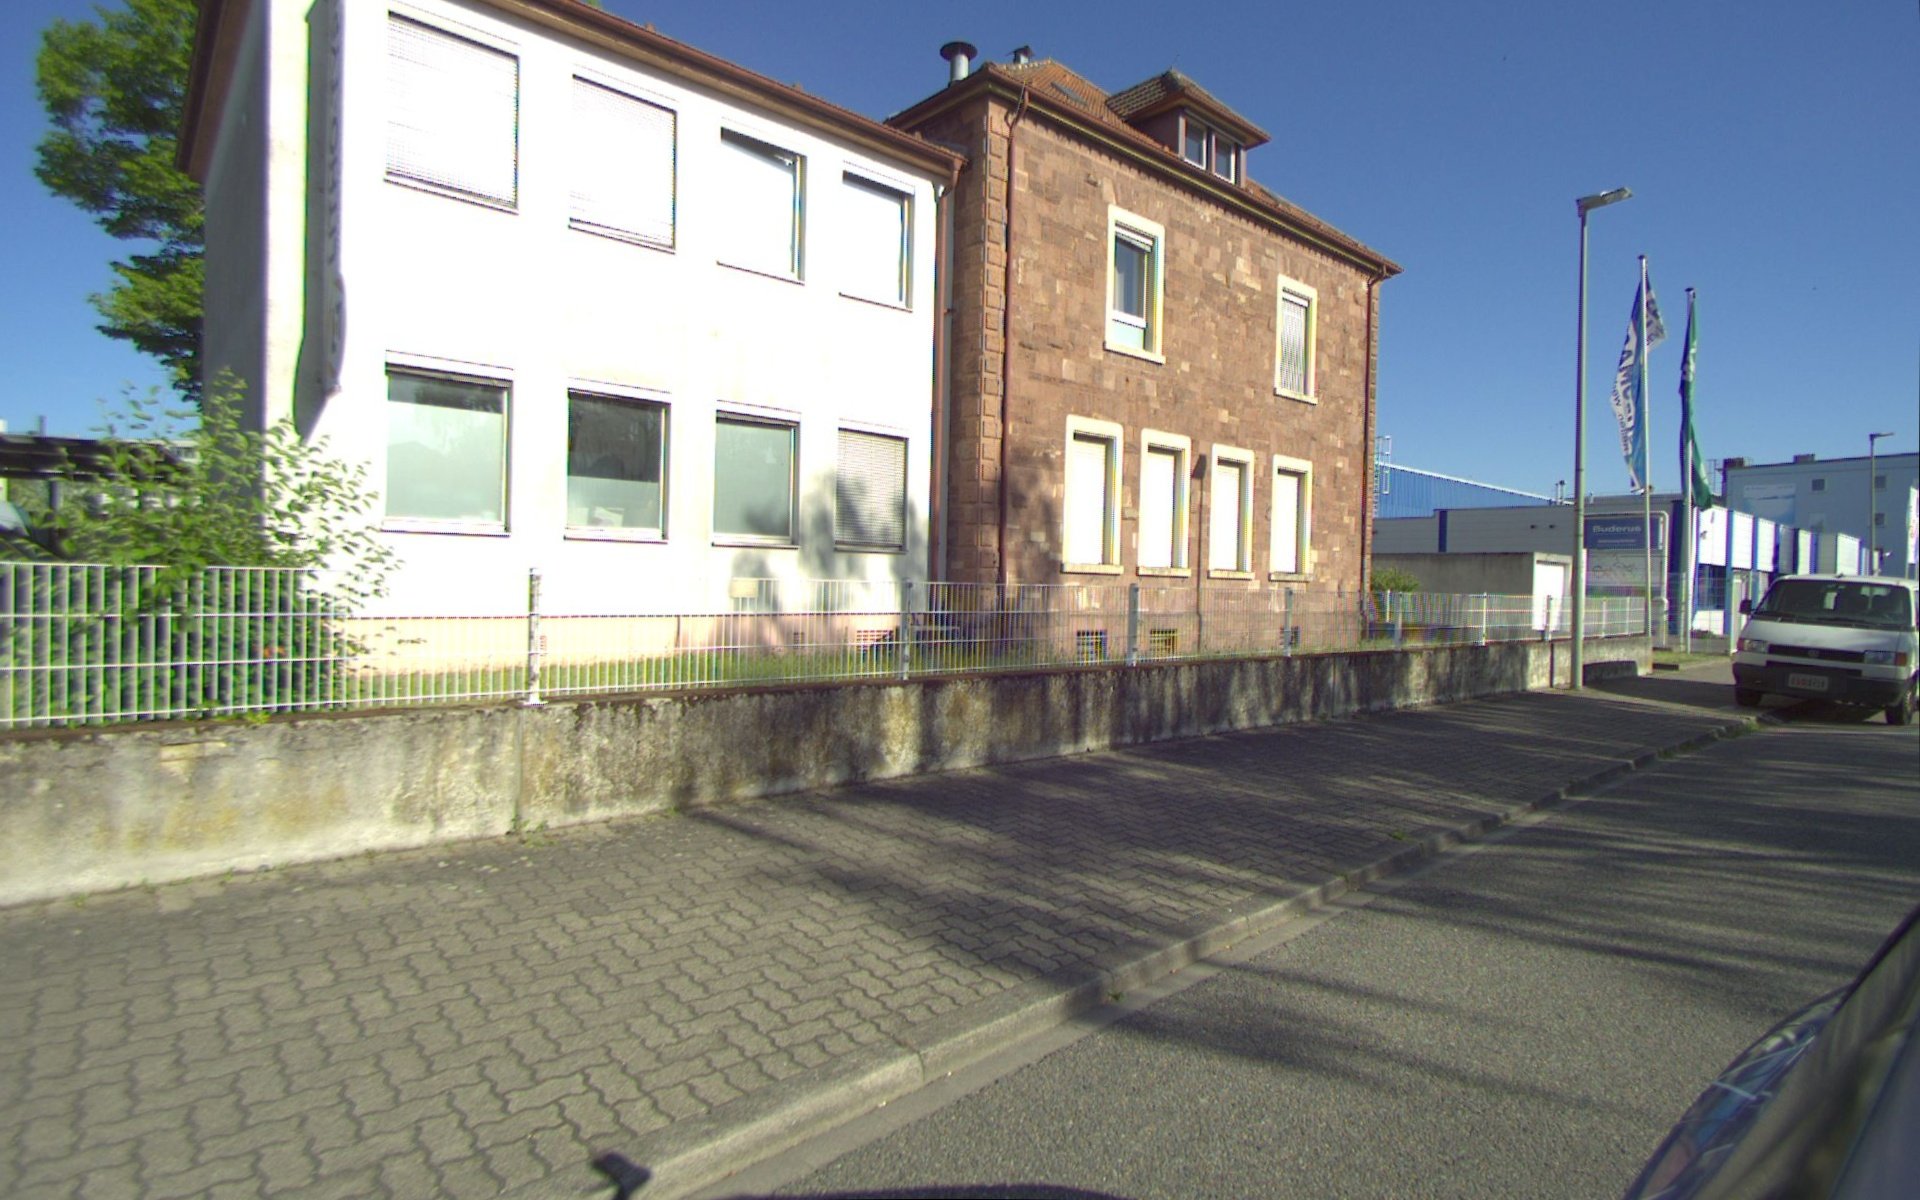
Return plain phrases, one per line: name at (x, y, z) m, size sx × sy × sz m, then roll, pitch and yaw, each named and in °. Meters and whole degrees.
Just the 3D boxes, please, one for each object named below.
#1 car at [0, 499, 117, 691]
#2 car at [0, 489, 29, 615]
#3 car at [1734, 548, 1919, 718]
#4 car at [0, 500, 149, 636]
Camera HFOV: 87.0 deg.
car at (-10.075, -0.053, 8.597) m, size 1.965 × 1.799 × 4.360 m, roll 2°, pitch 2°, yaw 5°
car at (-20.789, -1.014, 20.792) m, size 1.804 × 2.572 × 5.035 m, roll 1°, pitch 2°, yaw -36°
car at (12.715, 0.424, 14.282) m, size 4.631 × 2.040 × 1.848 m, roll 0°, pitch -2°, yaw -40°
car at (-13.687, -0.450, 13.528) m, size 1.965 × 1.799 × 4.360 m, roll 2°, pitch 2°, yaw 5°
